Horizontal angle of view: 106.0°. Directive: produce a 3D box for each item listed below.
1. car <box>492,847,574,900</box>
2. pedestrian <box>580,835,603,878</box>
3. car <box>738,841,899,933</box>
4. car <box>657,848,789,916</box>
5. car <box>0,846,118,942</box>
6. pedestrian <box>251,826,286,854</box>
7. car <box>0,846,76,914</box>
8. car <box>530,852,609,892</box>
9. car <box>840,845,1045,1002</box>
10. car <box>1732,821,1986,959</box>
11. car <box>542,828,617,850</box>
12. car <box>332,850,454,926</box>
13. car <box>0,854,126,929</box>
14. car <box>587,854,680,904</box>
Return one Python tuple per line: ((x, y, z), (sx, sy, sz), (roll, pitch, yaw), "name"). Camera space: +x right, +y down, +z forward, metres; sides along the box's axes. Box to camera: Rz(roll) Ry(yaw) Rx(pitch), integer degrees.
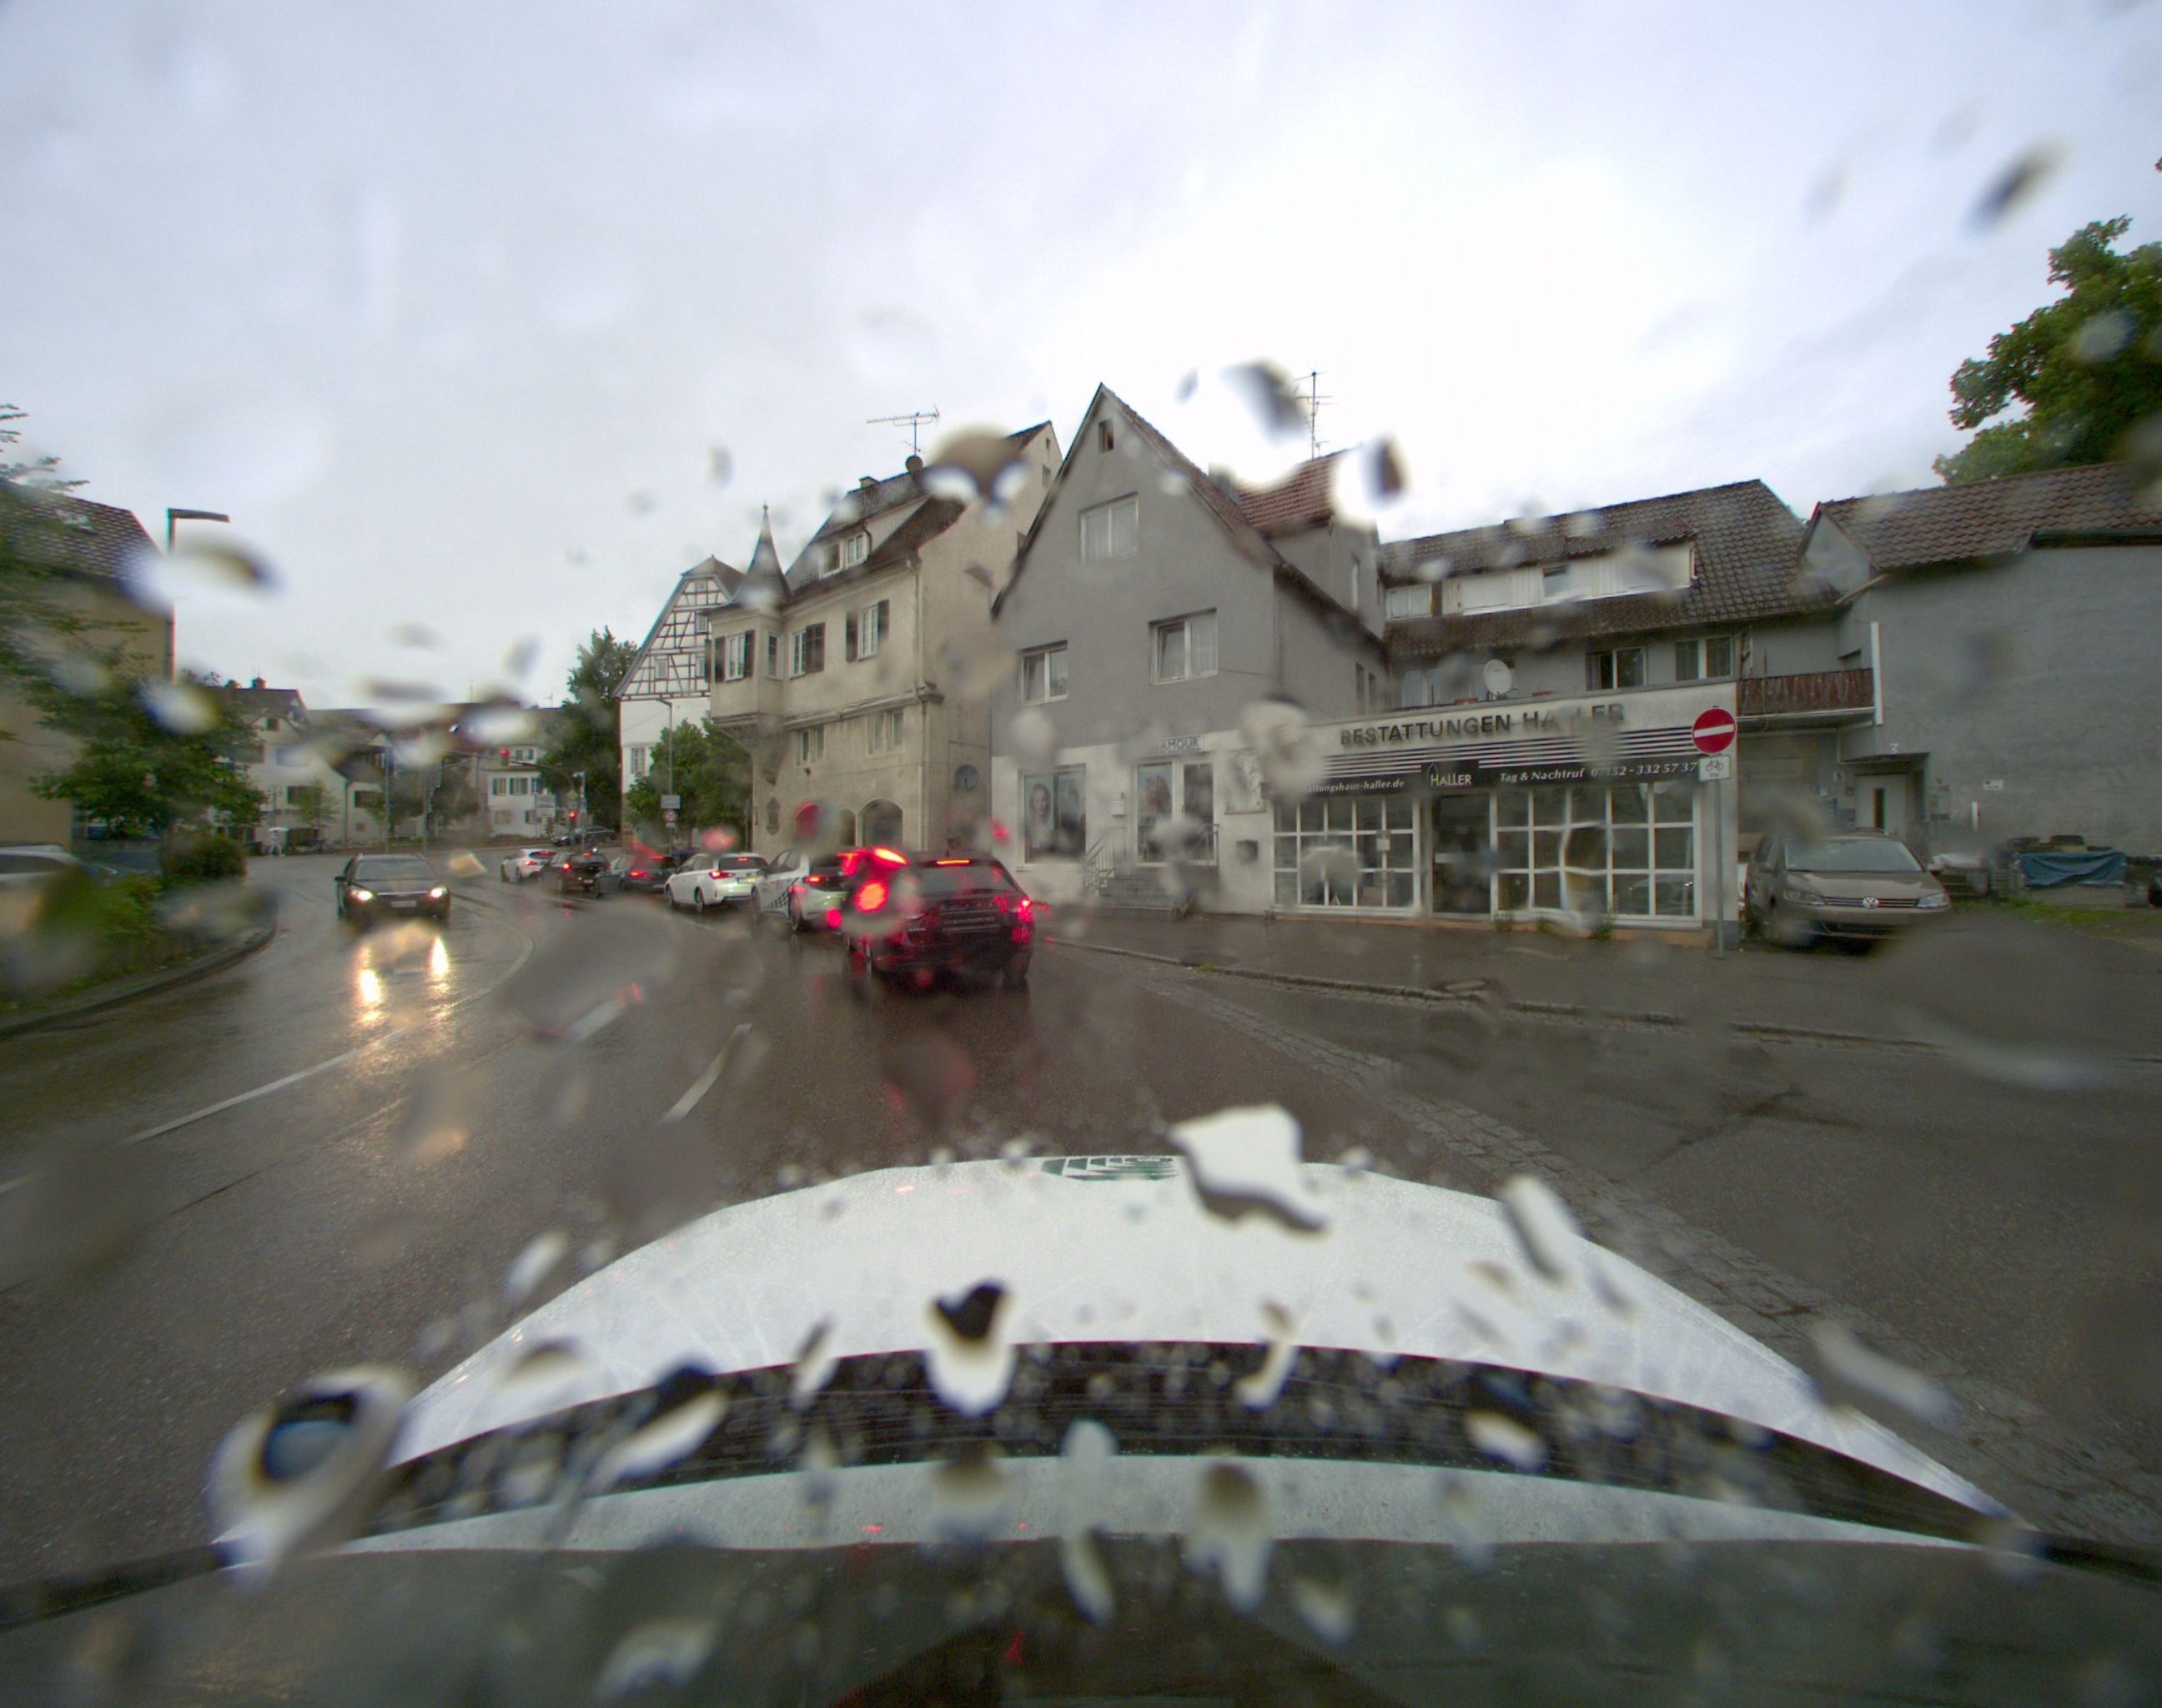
((-23.494, 0.761, 34.898), (3.911, 2.090, 1.992), (1, 2, 42), "car")
((-27.200, 0.131, 45.274), (0.872, 2.326, 1.216), (-1, 0, -40), "pedestrian")
((-5.317, 0.569, 16.132), (1.803, 1.517, 4.194), (-2, 1, -36), "car")
((-9.131, 0.617, 20.609), (1.801, 1.465, 4.114), (-3, 2, -42), "car")
((-20.122, 0.722, 14.437), (1.692, 1.685, 3.558), (0, 1, 24), "car")
((-50.711, -0.869, 50.836), (1.143, 1.742, 1.004), (-1, 0, -3), "pedestrian")
((-26.194, 0.620, 18.704), (1.692, 1.576, 3.558), (0, 1, 24), "car")
((-18.939, 0.631, 30.105), (3.579, 1.312, 1.678), (1, 3, 44), "car")
((-1.935, 0.648, 10.153), (1.738, 1.450, 4.212), (-2, 2, -21), "car")
((11.731, 0.380, 12.678), (1.905, 1.727, 4.698), (-1, 2, 31), "car")
((-37.556, -1.094, 61.106), (1.632, 1.389, 4.555), (7, 3, 23), "car")
((-16.061, 0.743, 18.932), (4.220, 1.510, 1.748), (-2, 1, 45), "car")
((-22.387, 0.775, 16.501), (1.692, 1.455, 3.558), (0, 1, 24), "car")
((-14.132, 0.734, 25.655), (3.721, 1.361, 1.533), (1, 2, 44), "car")
